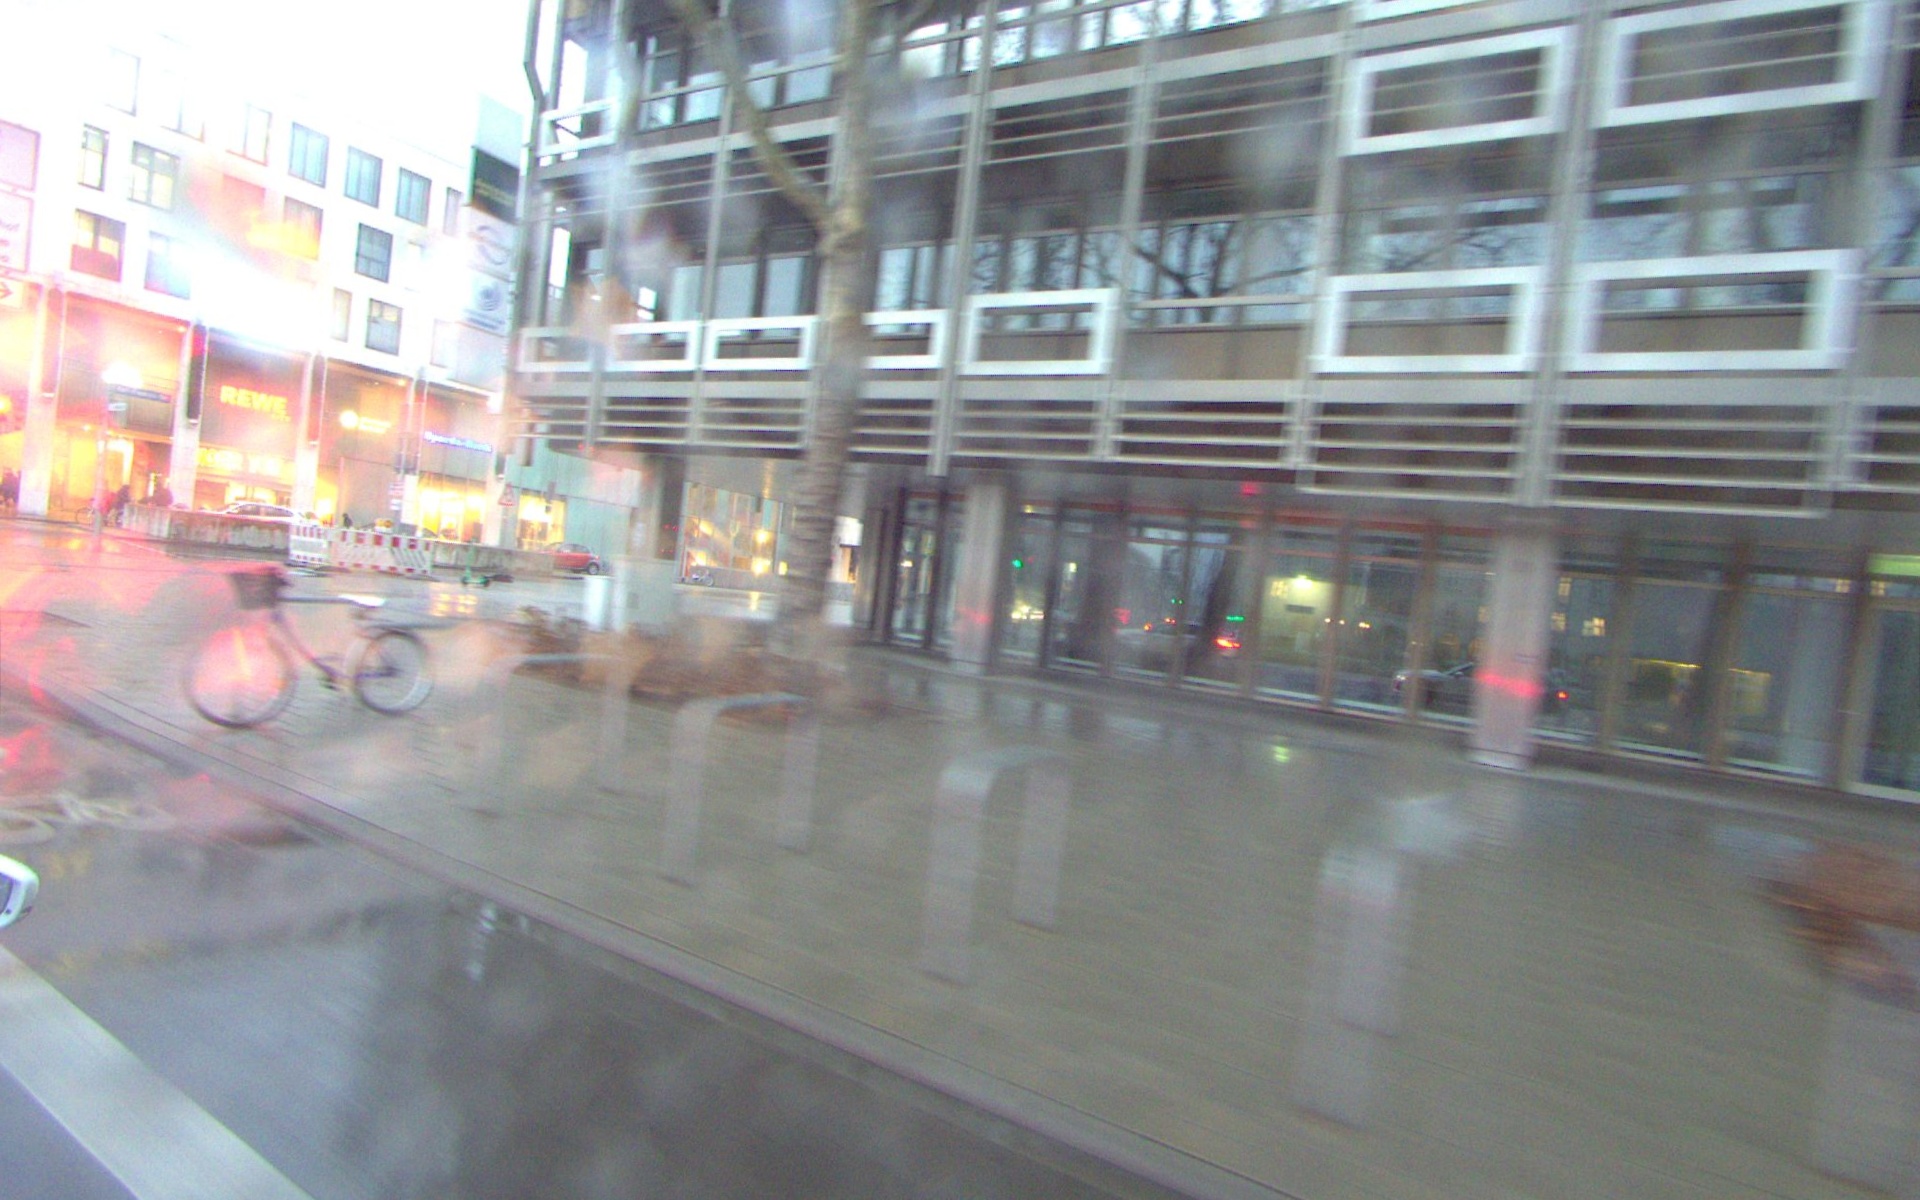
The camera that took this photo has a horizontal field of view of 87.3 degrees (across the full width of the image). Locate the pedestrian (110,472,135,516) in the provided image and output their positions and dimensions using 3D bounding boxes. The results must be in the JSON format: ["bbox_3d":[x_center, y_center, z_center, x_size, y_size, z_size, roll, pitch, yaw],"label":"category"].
[{"bbox_3d":[-34.815,-4.408,41.839,0.529,1.707,0.546,6,2,-20],"label":"pedestrian"}]

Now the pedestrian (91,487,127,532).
[{"bbox_3d":[-32.724,-3.481,38.685,0.527,1.590,0.815,7,1,30],"label":"pedestrian"}]

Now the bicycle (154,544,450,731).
[{"bbox_3d":[-4.664,0.258,7.276,0.428,1.164,1.752,7,2,28],"label":"bicycle"}]

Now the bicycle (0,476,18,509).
[{"bbox_3d":[-42.908,-4.856,43.933,0.623,1.346,2.430,8,1,28],"label":"bicycle"}]

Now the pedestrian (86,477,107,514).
[{"bbox_3d":[-42.694,-5.160,49.764,0.529,1.740,0.500,6,2,-20],"label":"pedestrian"}]

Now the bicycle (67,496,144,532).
[{"bbox_3d":[-32.776,-3.289,38.622,0.532,1.003,2.132,7,-1,30],"label":"bicycle"}]

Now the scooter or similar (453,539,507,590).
[{"bbox_3d":[-12.152,-0.890,25.446,1.215,1.145,0.605,7,1,33],"label":"scooter or similar"}]

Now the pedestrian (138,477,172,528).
[{"bbox_3d":[-27.671,-3.356,34.564,0.778,1.616,0.606,5,2,-42],"label":"pedestrian"}]

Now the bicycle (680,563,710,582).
[{"bbox_3d":[-17.676,-1.850,67.161,2.102,1.046,0.616,7,1,34],"label":"bicycle"}]

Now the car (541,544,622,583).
[{"bbox_3d":[-19.557,-1.867,52.054,1.648,1.602,3.573,6,0,30],"label":"car"}]

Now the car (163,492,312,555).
[{"bbox_3d":[-27.917,-2.933,39.013,1.680,1.784,4.303,8,1,35],"label":"car"}]

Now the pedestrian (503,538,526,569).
[{"bbox_3d":[-25.410,-2.652,57.427,0.698,1.651,0.795,7,0,33],"label":"pedestrian"}]

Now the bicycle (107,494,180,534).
[{"bbox_3d":[-27.914,-2.924,34.415,1.838,1.107,0.610,6,1,-43],"label":"bicycle"}]
